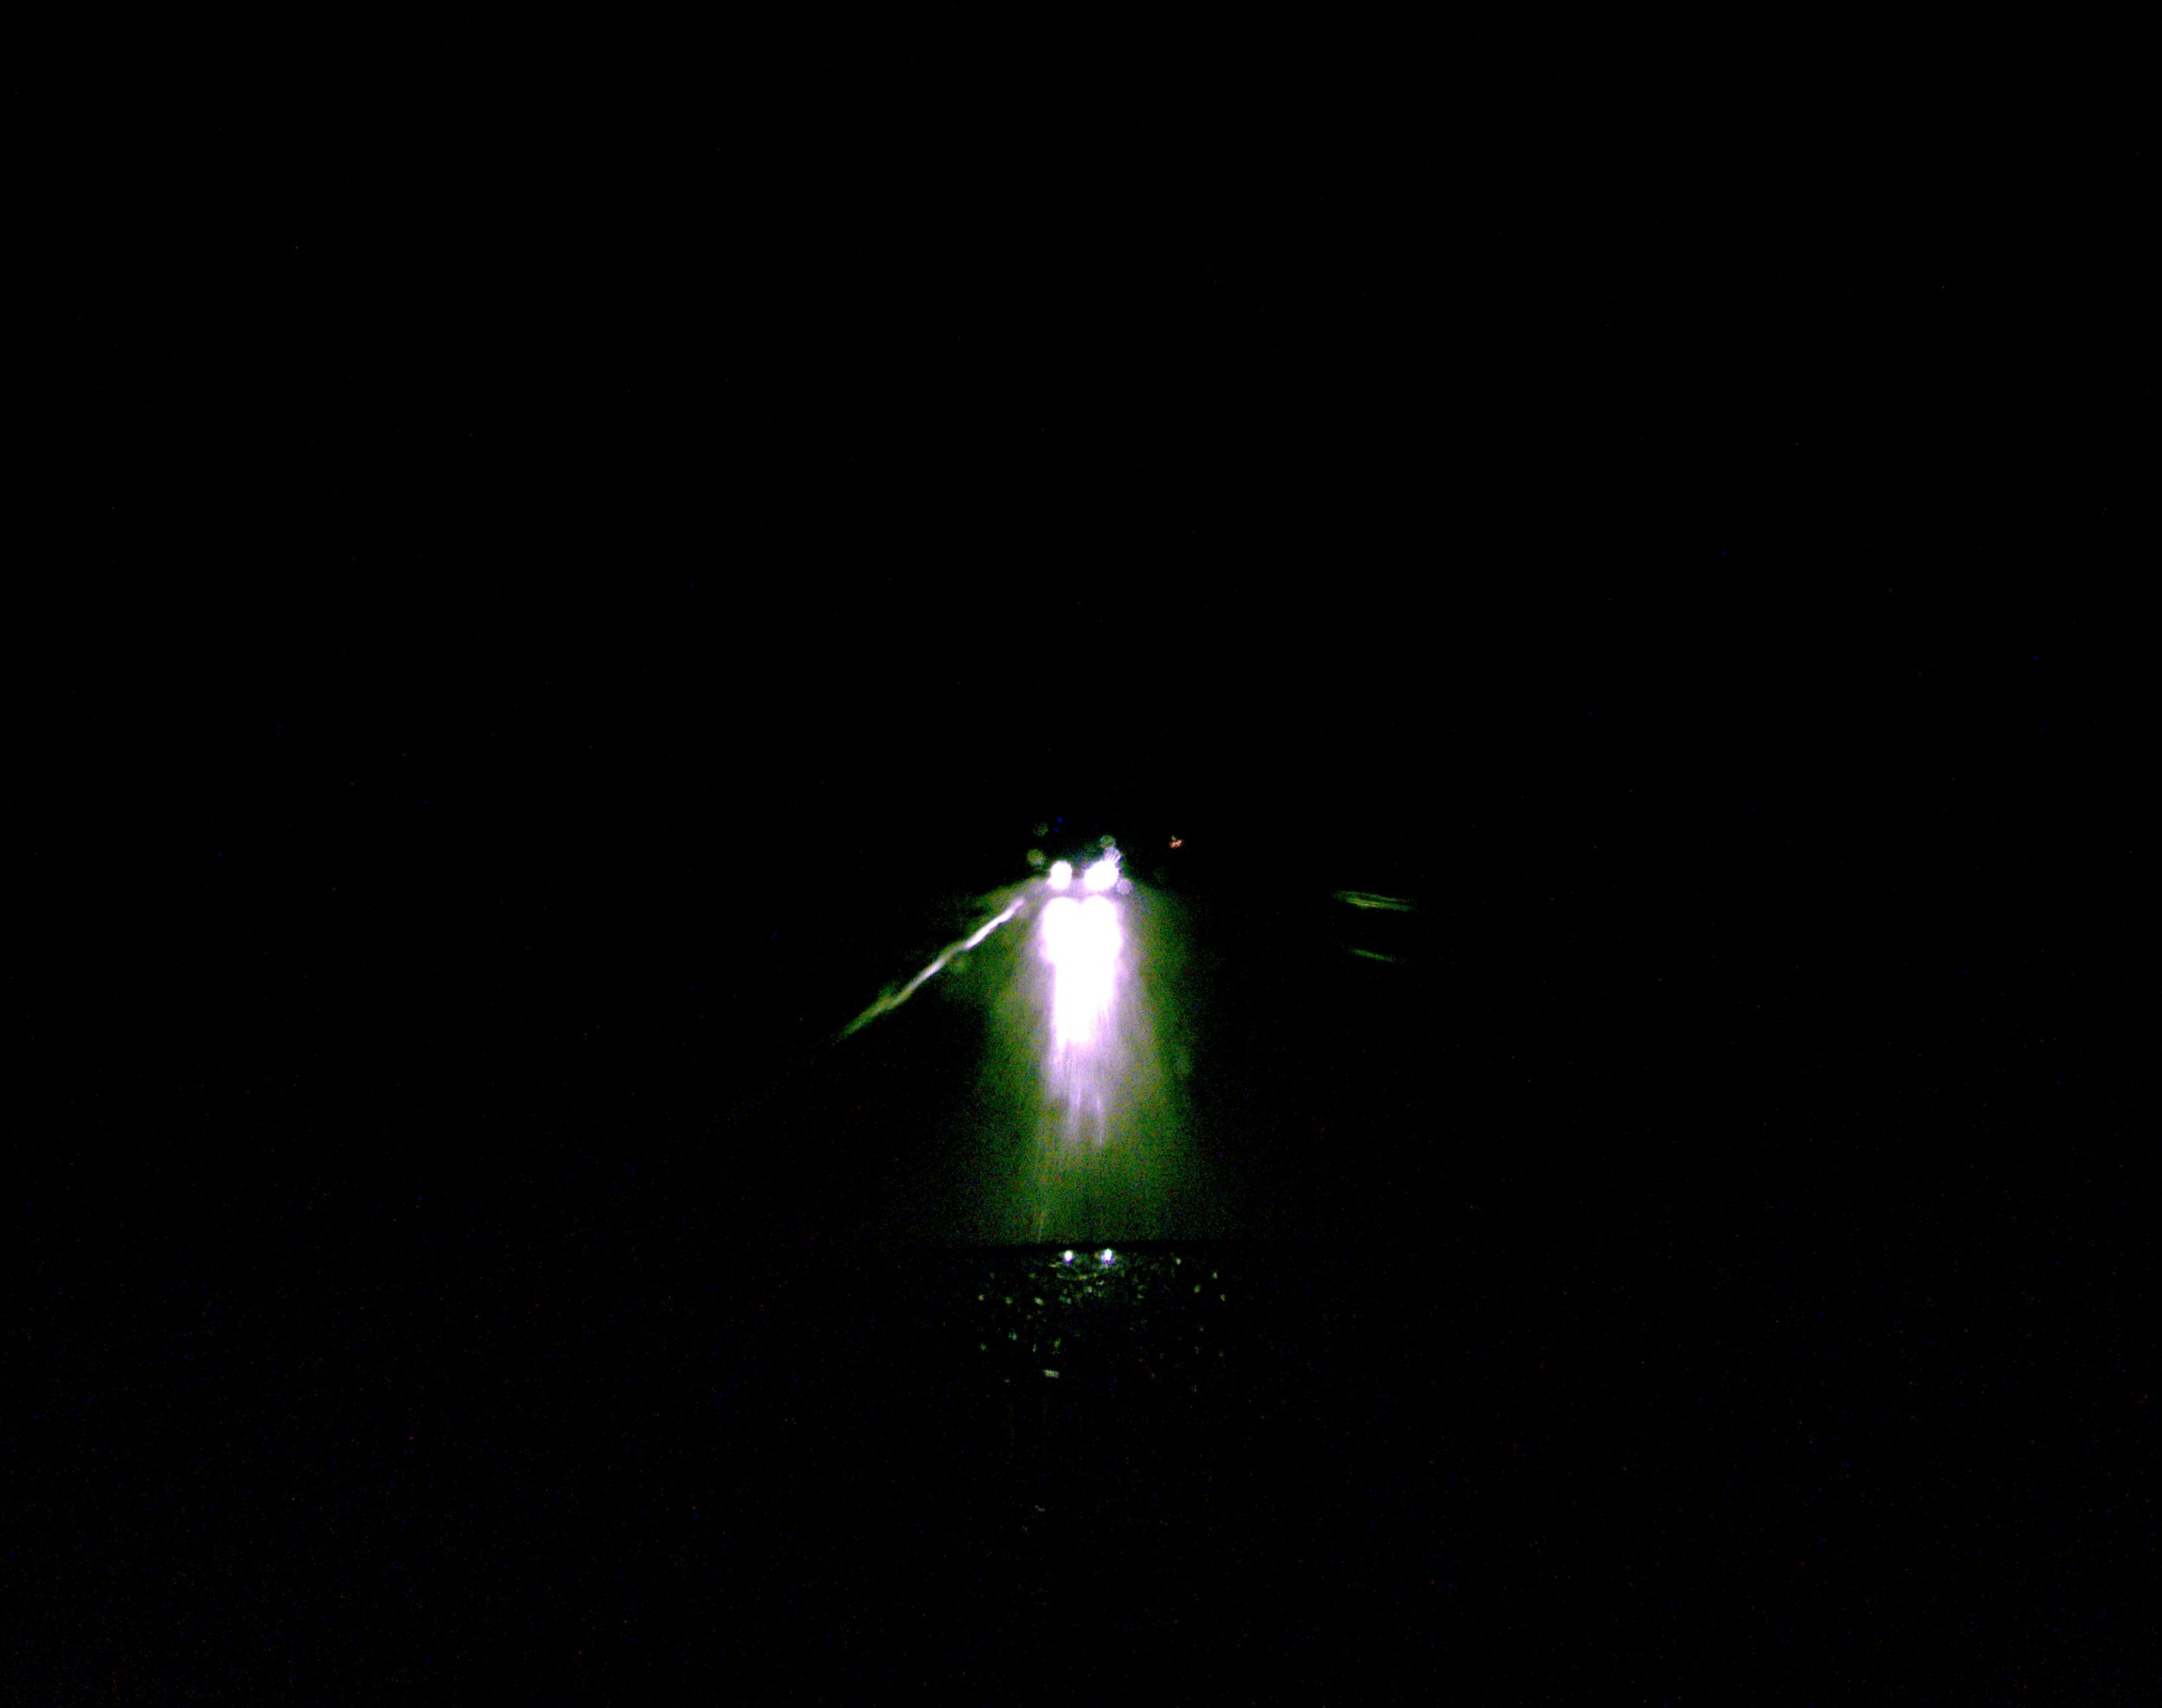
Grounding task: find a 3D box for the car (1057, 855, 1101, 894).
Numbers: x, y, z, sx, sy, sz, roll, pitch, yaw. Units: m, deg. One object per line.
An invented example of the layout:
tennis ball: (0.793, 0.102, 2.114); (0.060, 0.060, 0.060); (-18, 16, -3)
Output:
car: (-0.076, 0.862, 33.131); (1.793, 1.593, 4.000); (0, -1, 1)
